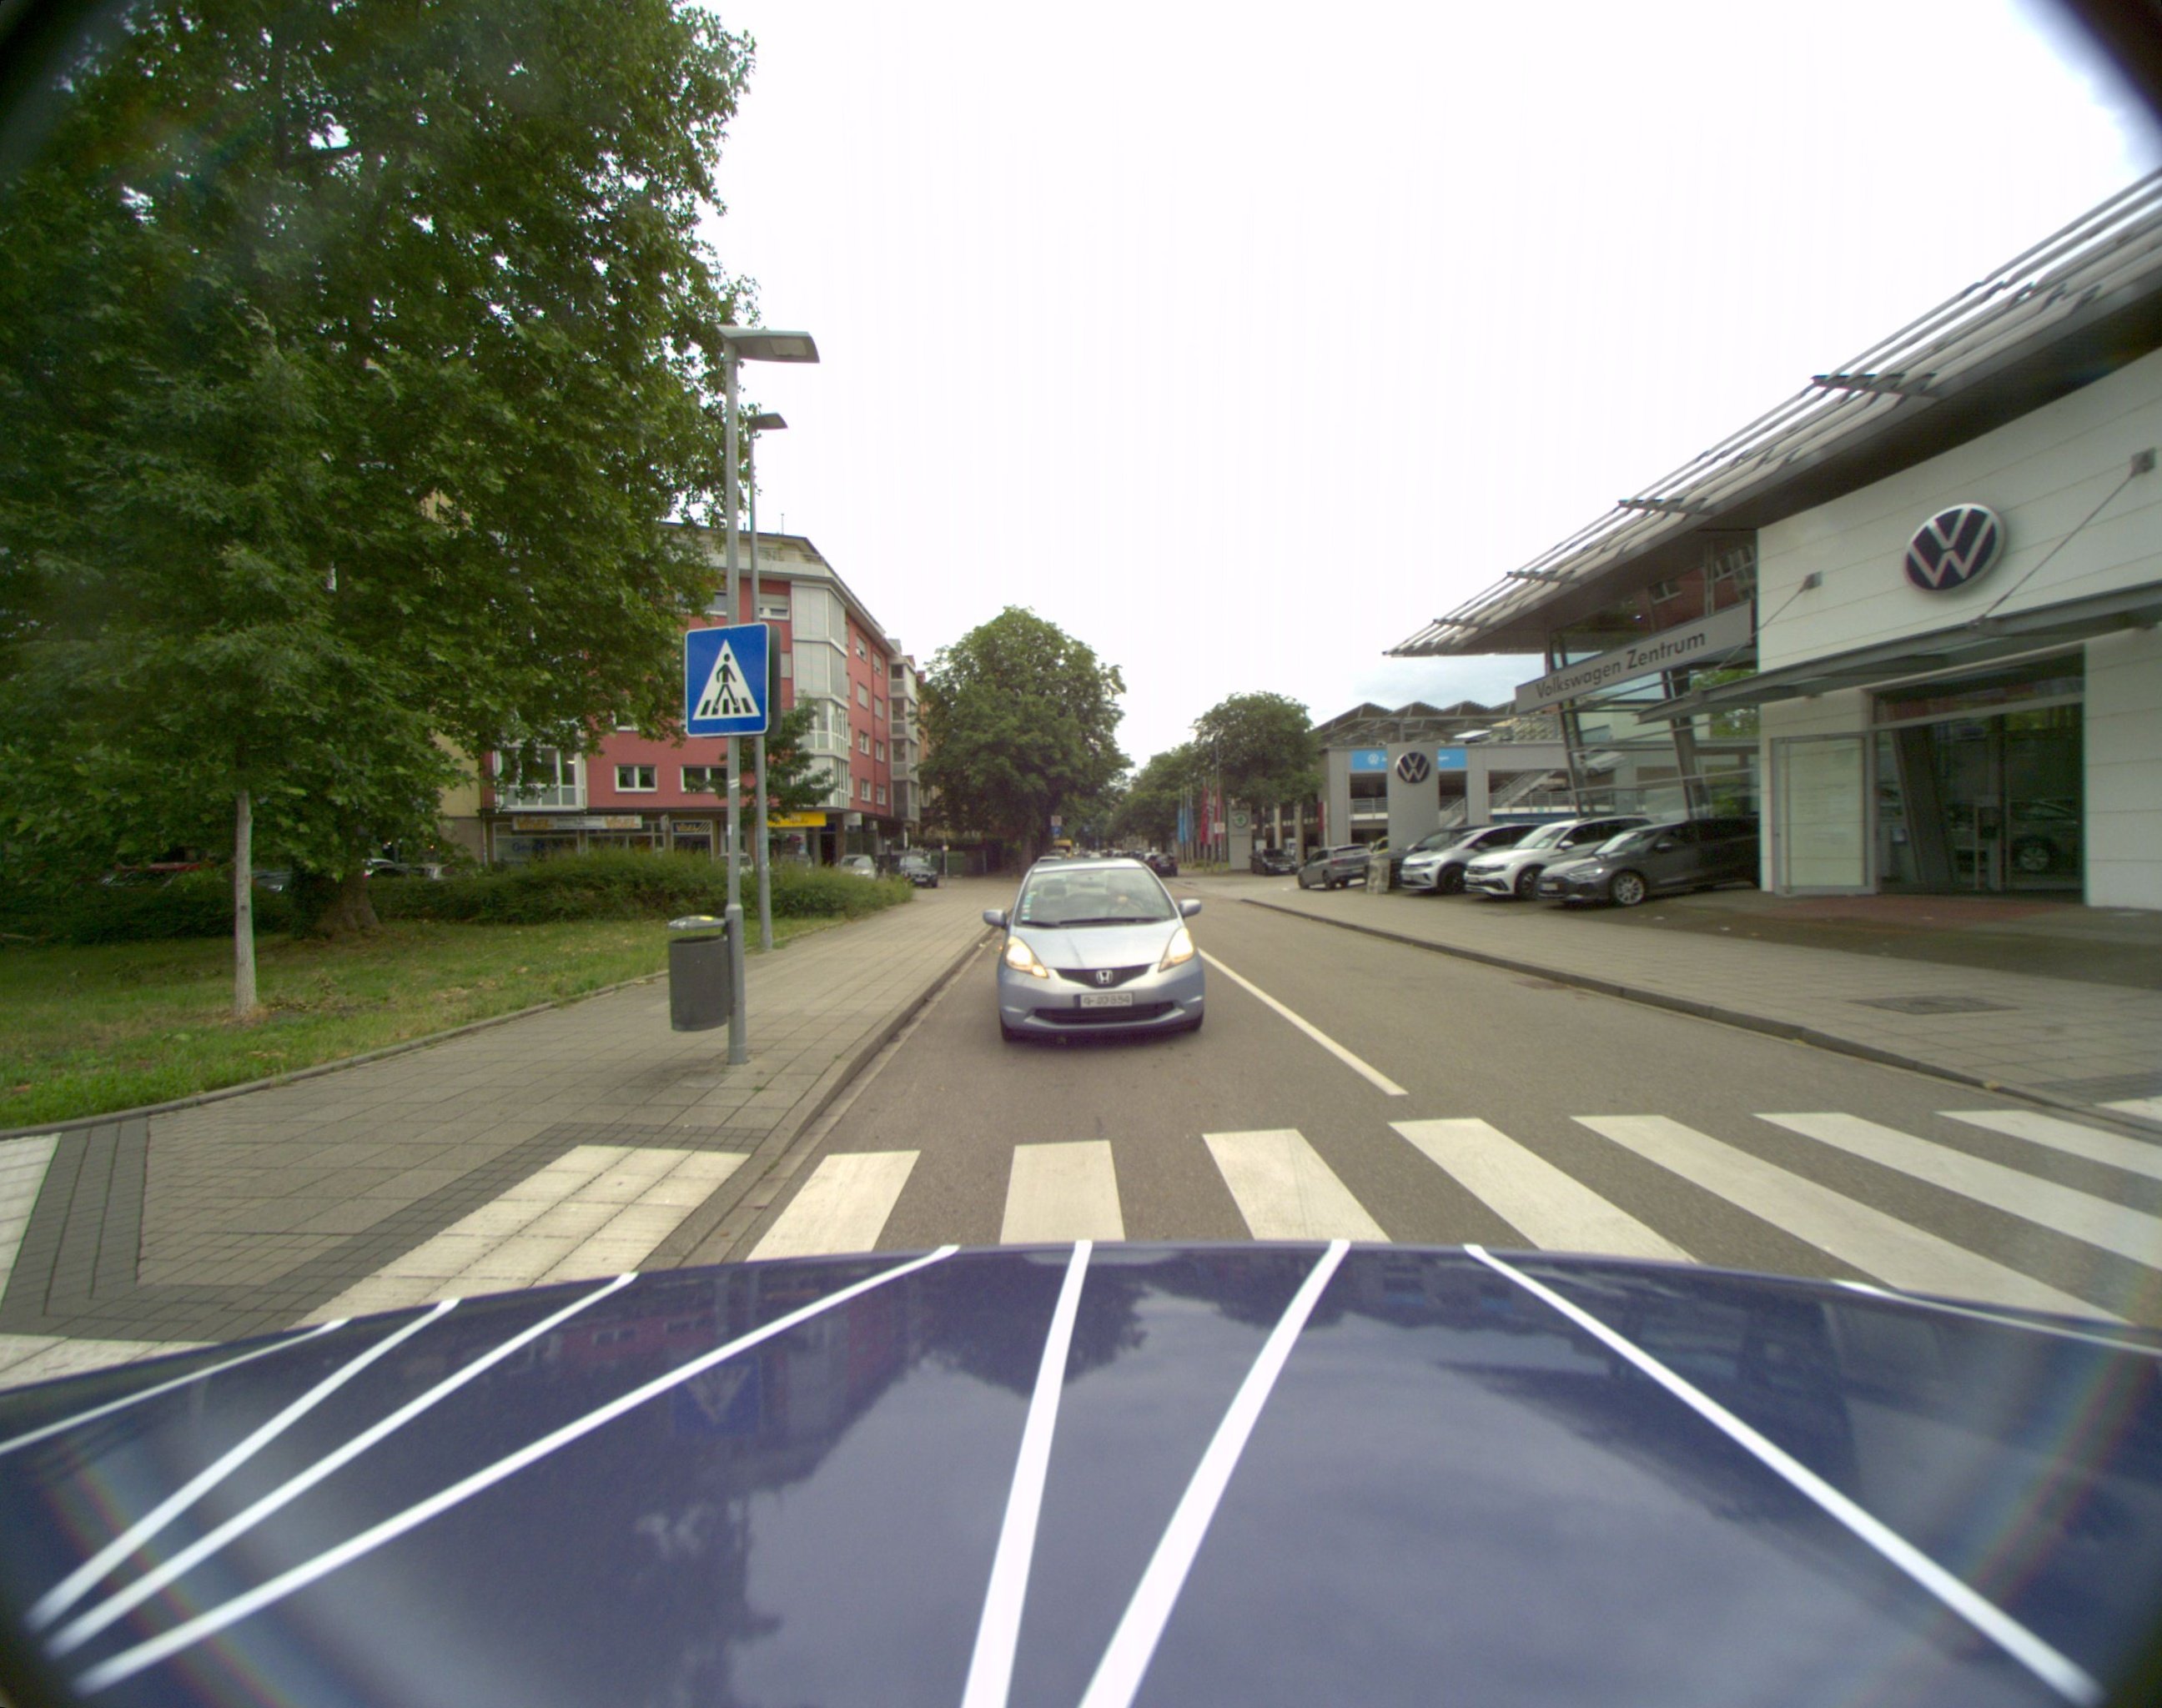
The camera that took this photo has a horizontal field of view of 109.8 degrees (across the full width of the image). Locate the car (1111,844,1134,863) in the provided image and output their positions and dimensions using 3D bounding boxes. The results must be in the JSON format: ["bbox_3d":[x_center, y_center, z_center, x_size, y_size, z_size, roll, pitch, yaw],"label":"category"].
[{"bbox_3d":[4.468,-0.072,81.890,1.860,1.974,4.473,-3,1,-4],"label":"car"}]

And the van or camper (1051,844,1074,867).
[{"bbox_3d":[-1.683,0.100,69.329,1.999,2.002,3.999,-1,1,-1],"label":"van or camper"}]

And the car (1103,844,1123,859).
[{"bbox_3d":[4.282,-0.344,102.524,2.022,1.974,4.780,-3,1,-4],"label":"car"}]

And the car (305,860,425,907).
[{"bbox_3d":[-26.576,1.015,28.412,1.863,1.539,4.466,-2,1,-24],"label":"car"}]

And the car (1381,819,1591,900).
[{"bbox_3d":[10.652,0.139,20.210,4.473,1.689,1.869,-5,0,-1],"label":"car"}]

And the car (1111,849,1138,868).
[{"bbox_3d":[3.944,0.387,69.233,1.860,1.614,4.473,-3,1,-4],"label":"car"}]

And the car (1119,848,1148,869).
[{"bbox_3d":[4.416,0.357,64.336,1.860,1.614,4.473,-3,1,-4],"label":"car"}]

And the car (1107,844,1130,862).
[{"bbox_3d":[4.246,-0.136,87.634,2.022,1.974,4.780,-3,1,-4],"label":"car"}]

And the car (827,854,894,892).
[{"bbox_3d":[-10.201,0.824,34.992,1.864,1.539,4.464,-2,2,-31],"label":"car"}]

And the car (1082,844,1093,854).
[{"bbox_3d":[1.369,-0.979,159.465,2.022,1.974,4.780,-3,1,-4],"label":"car"}]

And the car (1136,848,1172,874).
[{"bbox_3d":[5.154,0.457,54.197,1.860,1.614,4.473,-3,1,-4],"label":"car"}]

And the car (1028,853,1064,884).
[{"bbox_3d":[-1.874,0.741,41.676,1.860,1.539,4.474,0,1,-2],"label":"car"}]

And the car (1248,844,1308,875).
[{"bbox_3d":[10.880,0.258,42.261,1.898,1.539,4.473,-3,1,-4],"label":"car"}]

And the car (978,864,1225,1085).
[{"bbox_3d":[0.063,0.909,7.643,1.754,1.458,4.096,-3,1,-3],"label":"car"}]

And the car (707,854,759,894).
[{"bbox_3d":[-14.915,0.815,32.575,1.863,1.539,4.466,-2,1,-25],"label":"car"}]

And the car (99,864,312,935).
[{"bbox_3d":[-22.358,1.065,19.700,1.863,1.539,4.466,-2,1,-24],"label":"car"}]

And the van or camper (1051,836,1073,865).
[{"bbox_3d":[-1.794,-0.342,74.202,1.999,2.756,3.999,-1,1,-1],"label":"van or camper"}]

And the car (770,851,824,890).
[{"bbox_3d":[-12.646,0.691,33.687,1.863,1.539,4.466,-2,1,-25],"label":"car"}]

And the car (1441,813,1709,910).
[{"bbox_3d":[11.021,0.160,17.177,4.772,1.689,1.861,-5,0,-1],"label":"car"}]

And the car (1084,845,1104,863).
[{"bbox_3d":[1.531,-0.056,92.116,2.022,1.974,4.780,-3,1,-4],"label":"car"}]

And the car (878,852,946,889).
[{"bbox_3d":[-7.971,0.715,35.544,1.864,1.539,4.464,-2,2,-29],"label":"car"}]

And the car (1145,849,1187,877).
[{"bbox_3d":[5.347,0.528,48.358,1.860,1.614,4.473,-3,1,-4],"label":"car"}]

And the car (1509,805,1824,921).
[{"bbox_3d":[10.955,0.162,14.447,4.473,1.687,1.897,-5,0,-2],"label":"car"}]

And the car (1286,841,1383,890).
[{"bbox_3d":[9.068,0.397,27.544,1.919,1.554,4.013,-3,0,-4],"label":"car"}]

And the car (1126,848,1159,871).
[{"bbox_3d":[4.749,0.407,59.426,1.860,1.614,4.473,-3,1,-4],"label":"car"}]

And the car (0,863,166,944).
[{"bbox_3d":[-24.781,1.115,18.182,1.863,1.712,4.466,-2,1,-24],"label":"car"}]
